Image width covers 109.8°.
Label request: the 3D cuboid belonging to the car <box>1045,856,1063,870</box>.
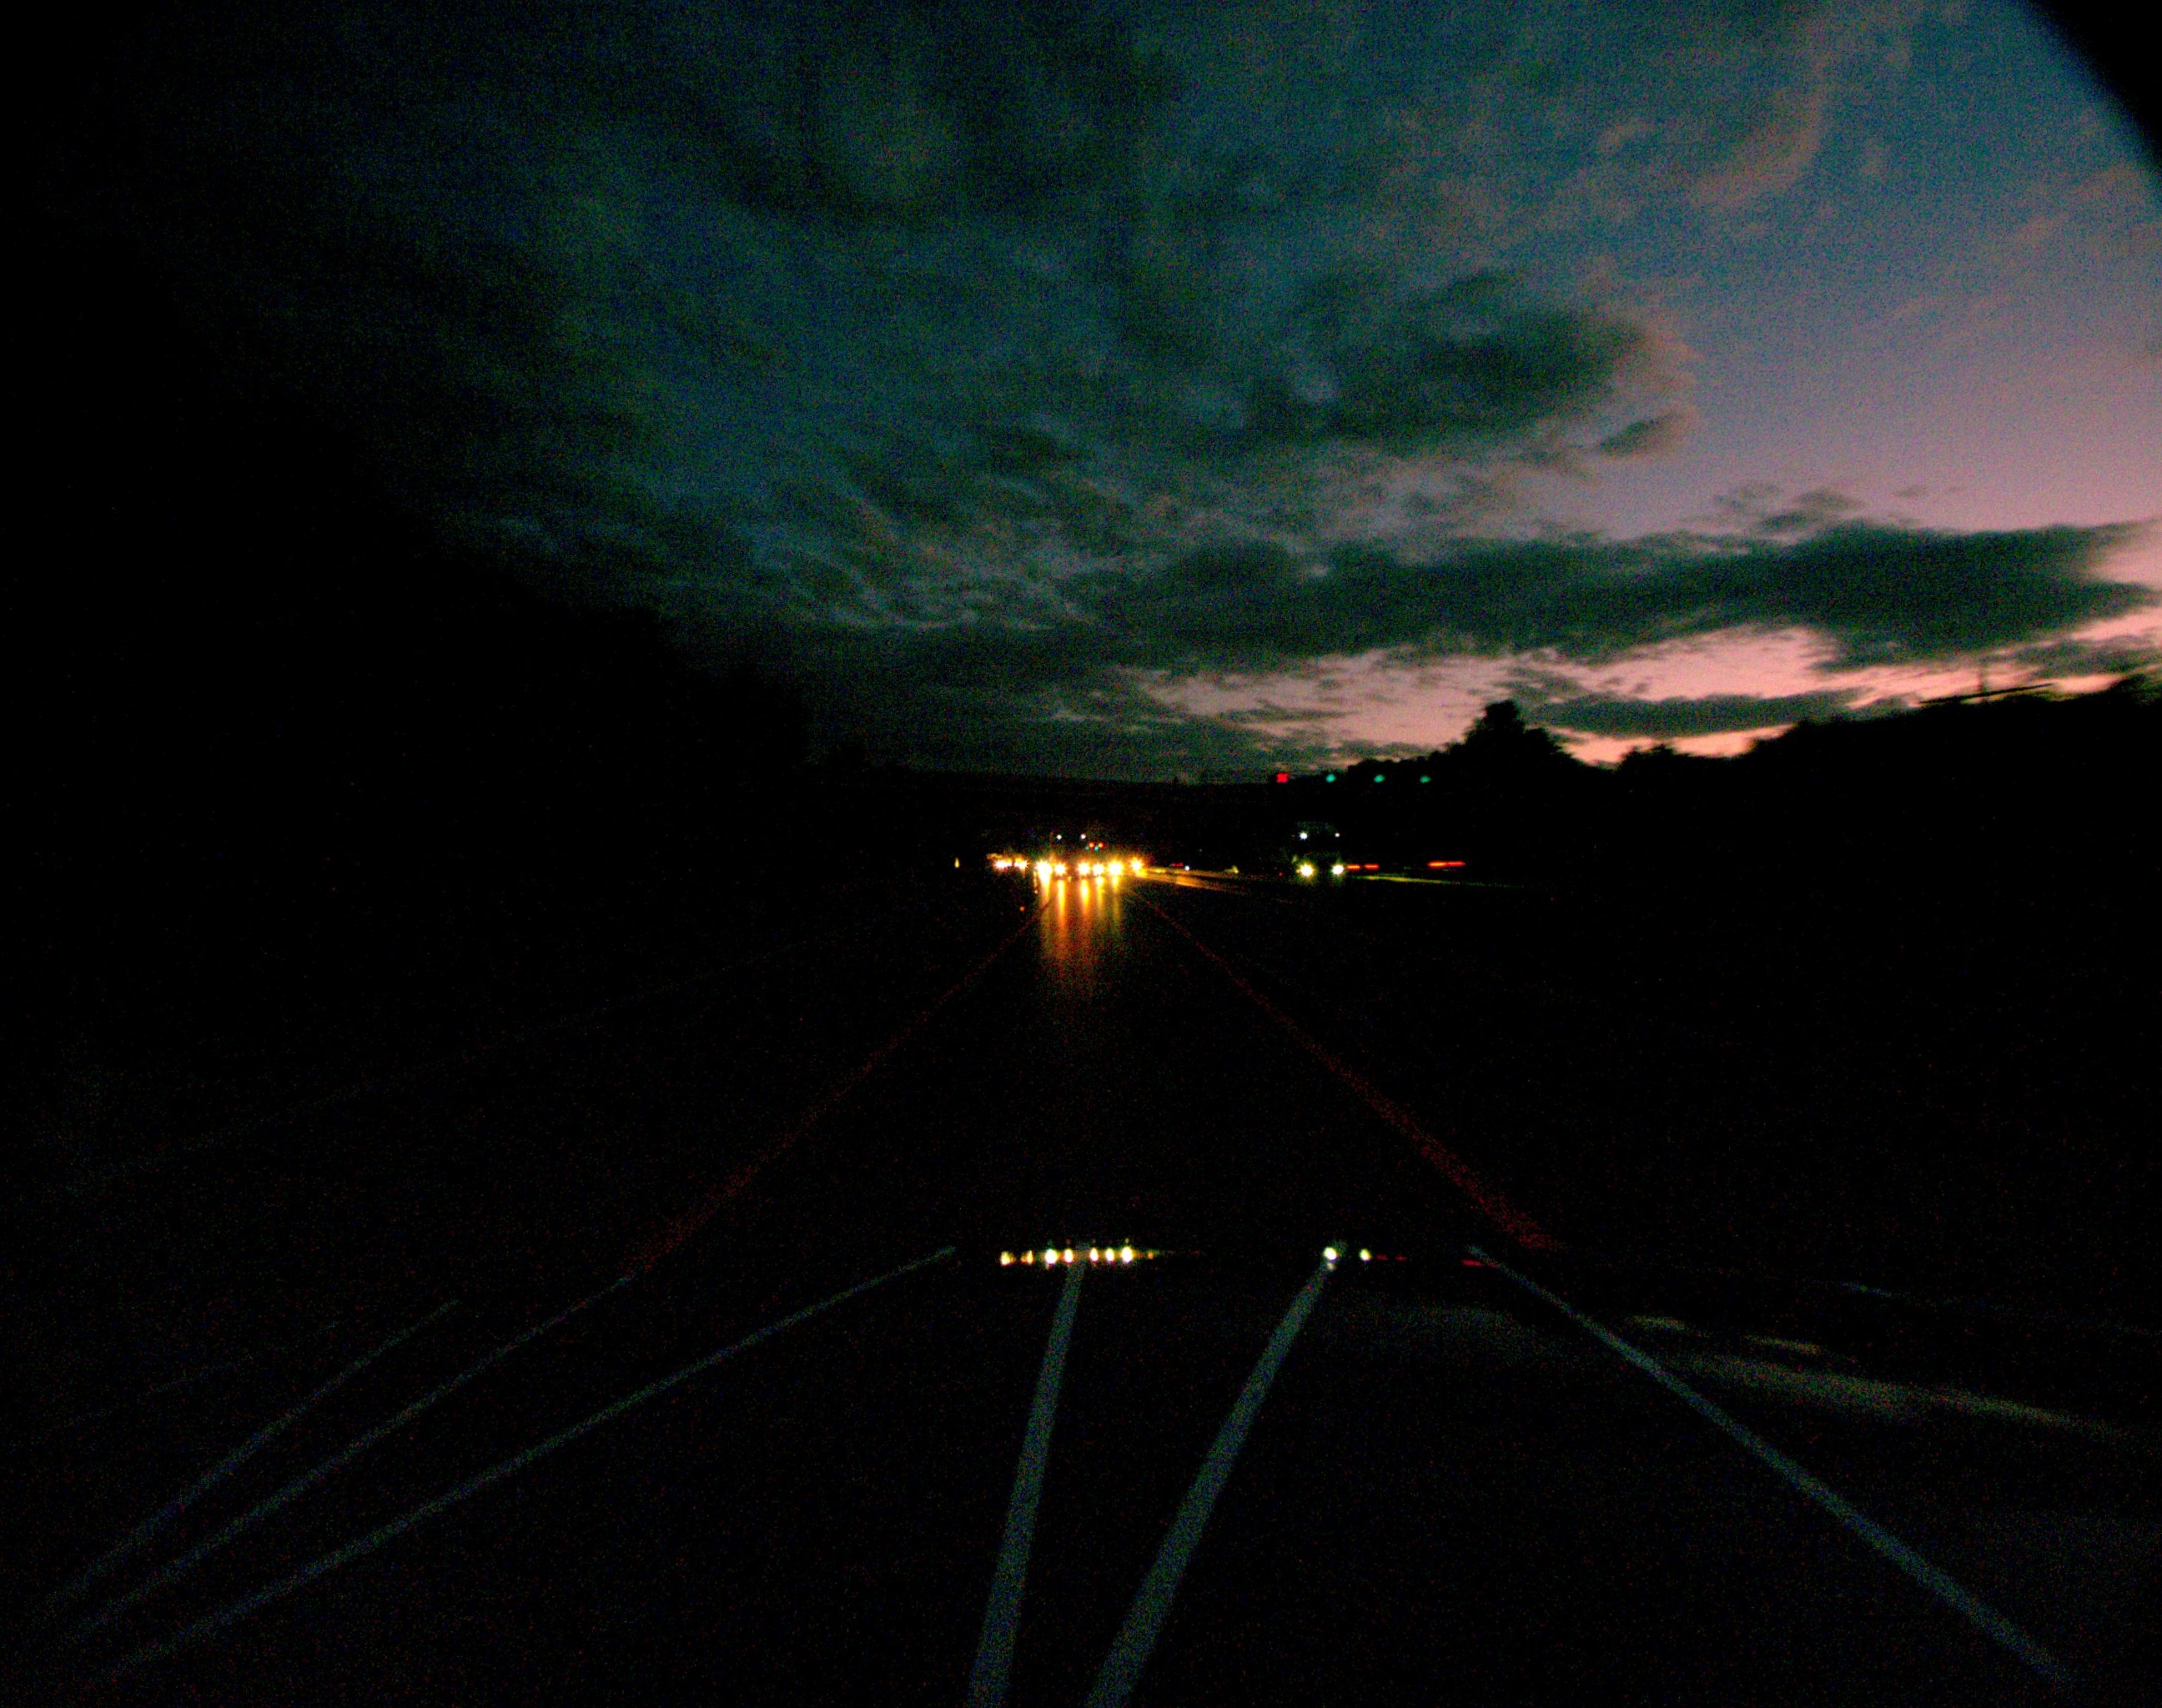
[{"bbox_3d":[-3.381,1.098,95.604,1.927,1.606,3.998,-1,0,-6],"label":"car"}]

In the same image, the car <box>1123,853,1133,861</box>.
[{"bbox_3d":[12.869,0.803,207.852,1.999,2.177,4.800,-3,0,-5],"label":"car"}]

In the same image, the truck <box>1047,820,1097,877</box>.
[{"bbox_3d":[-0.925,-0.422,64.330,2.955,4.241,11.045,-3,0,-7],"label":"truck"}]

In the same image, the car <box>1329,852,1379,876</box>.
[{"bbox_3d":[20.427,0.734,57.065,1.835,1.651,4.840,-3,0,-1],"label":"car"}]

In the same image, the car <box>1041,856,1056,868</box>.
[{"bbox_3d":[-4.669,1.141,108.868,1.927,1.606,3.998,-1,0,-6],"label":"car"}]

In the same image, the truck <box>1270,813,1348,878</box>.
[{"bbox_3d":[14.527,-0.522,48.923,2.810,3.753,6.301,-3,0,-2],"label":"truck"}]

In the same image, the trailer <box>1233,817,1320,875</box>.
[{"bbox_3d":[14.236,-0.555,56.622,2.806,3.761,11.832,-3,0,-2],"label":"trailer"}]

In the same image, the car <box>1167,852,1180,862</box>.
[{"bbox_3d":[18.620,0.608,153.032,1.999,2.002,4.000,-1,0,-1],"label":"car"}]

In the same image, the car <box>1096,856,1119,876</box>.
[{"bbox_3d":[2.285,0.994,66.615,1.663,1.586,3.995,-3,0,-2],"label":"car"}]

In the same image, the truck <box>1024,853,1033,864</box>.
[{"bbox_3d":[-14.601,1.146,210.458,1.999,2.817,6.295,-3,0,-1],"label":"truck"}]

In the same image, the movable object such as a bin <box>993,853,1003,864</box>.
[{"bbox_3d":[-23.225,1.178,212.634,2.629,3.090,5.802,-1,0,-7],"label":"movable object such as a bin"}]

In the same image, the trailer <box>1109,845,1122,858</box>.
[{"bbox_3d":[11.525,-0.729,255.101,2.786,4.181,12.397,-3,0,-3],"label":"trailer"}]

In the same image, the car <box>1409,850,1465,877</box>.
[{"bbox_3d":[24.394,0.627,52.197,1.912,1.704,3.943,-3,0,0],"label":"car"}]
